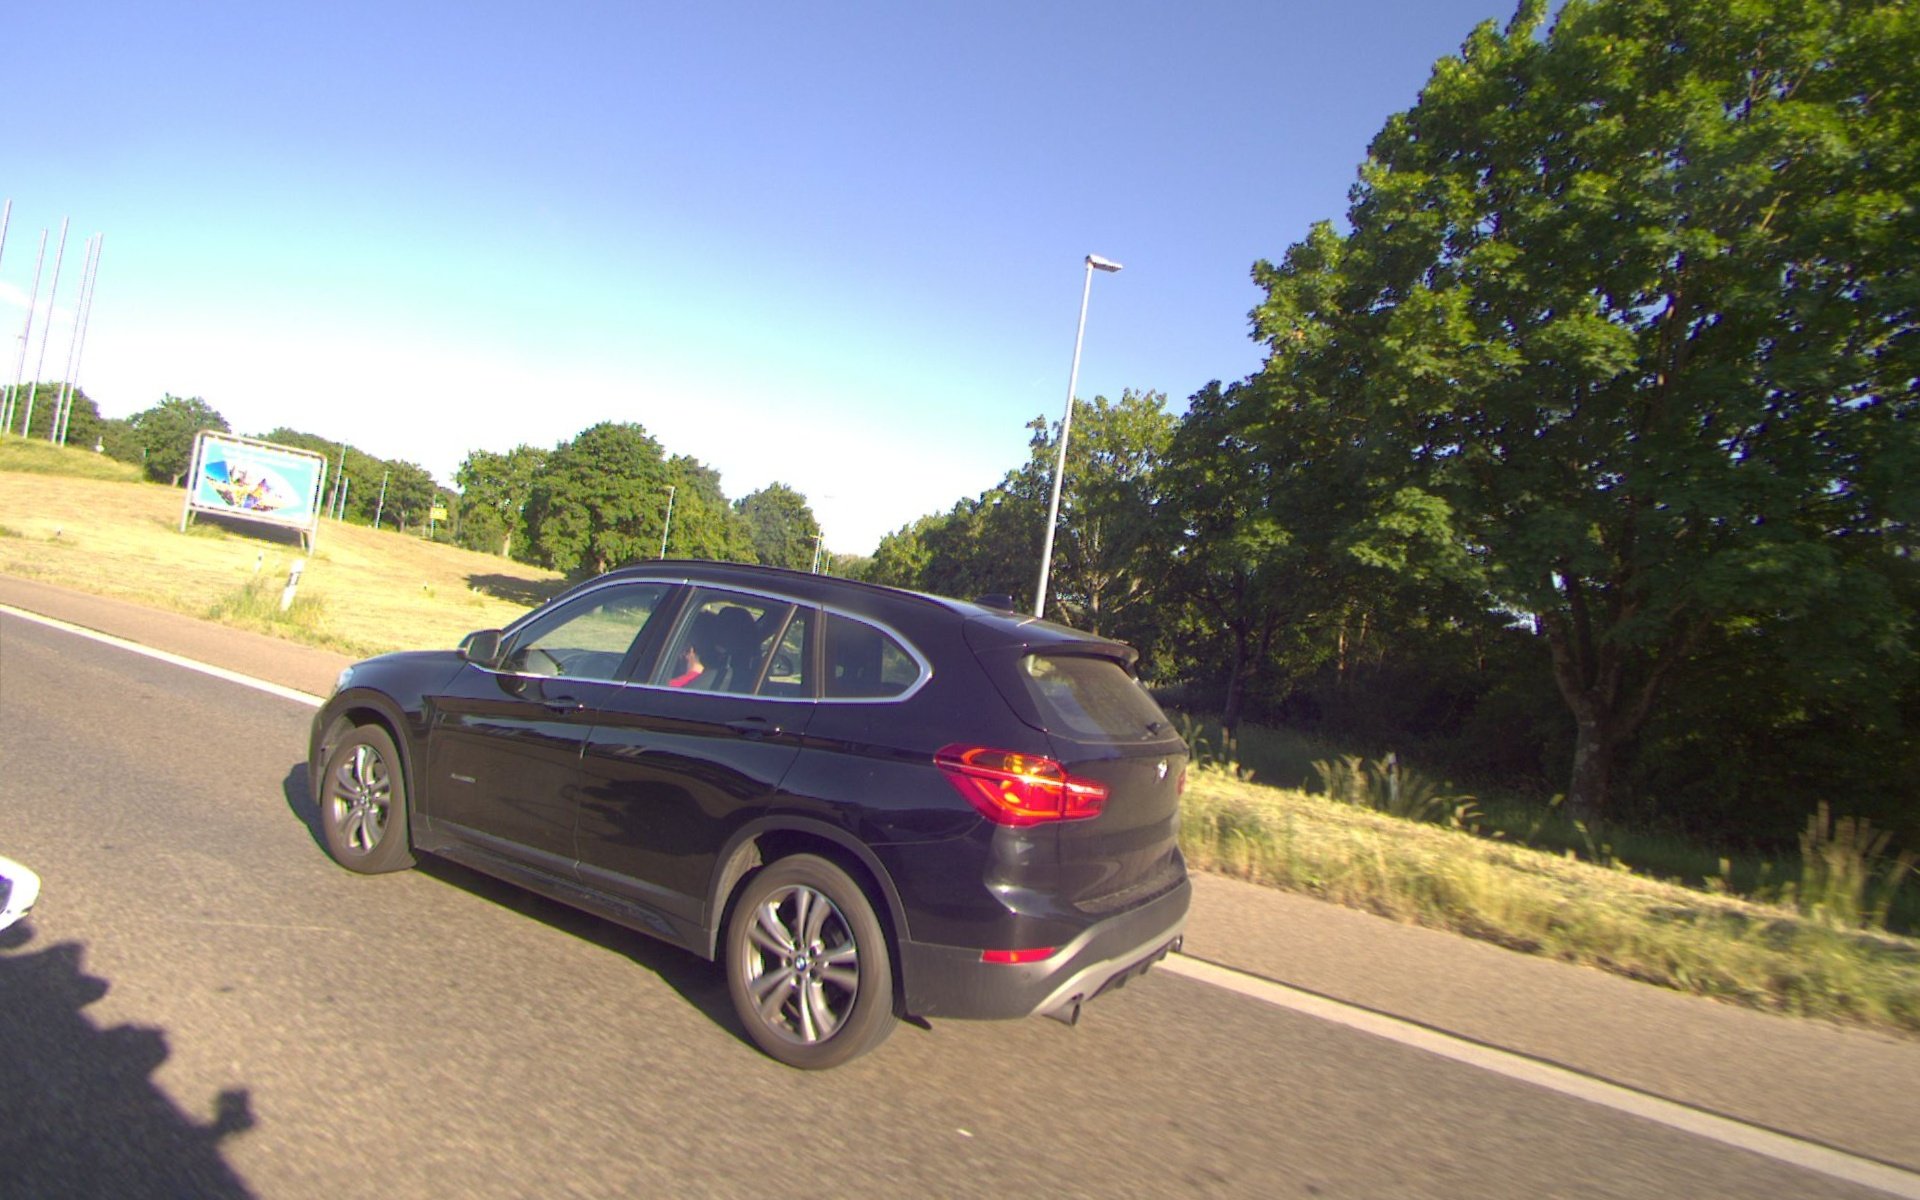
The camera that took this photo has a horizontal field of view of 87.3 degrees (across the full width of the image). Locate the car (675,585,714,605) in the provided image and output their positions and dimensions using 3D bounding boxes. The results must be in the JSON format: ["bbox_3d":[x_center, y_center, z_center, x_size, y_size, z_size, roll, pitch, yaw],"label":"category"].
[{"bbox_3d":[-29.487,-0.567,111.824,3.935,1.711,1.865,8,-1,33],"label":"car"}]

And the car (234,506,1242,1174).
[{"bbox_3d":[-1.222,0.628,4.683,4.444,1.592,1.758,7,0,30],"label":"car"}]
